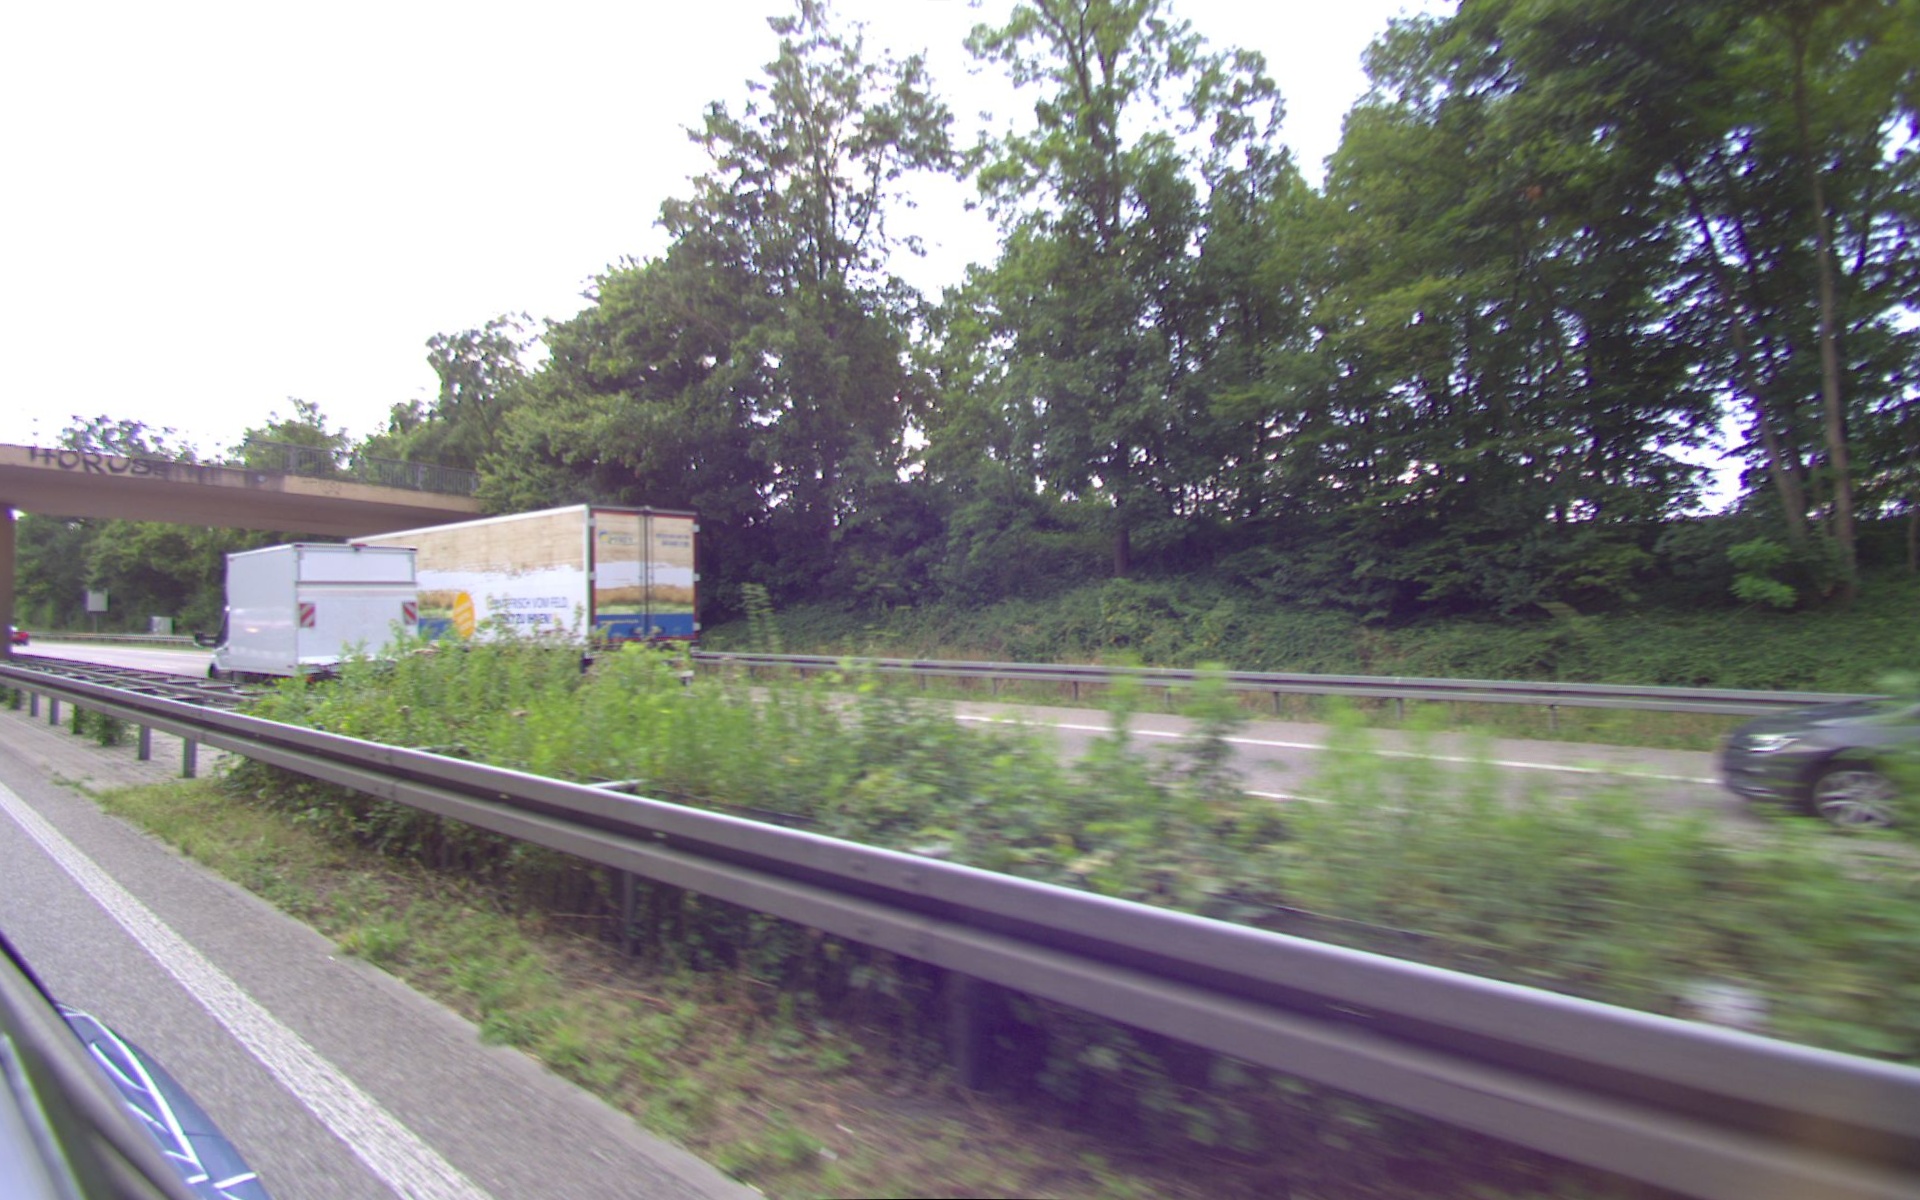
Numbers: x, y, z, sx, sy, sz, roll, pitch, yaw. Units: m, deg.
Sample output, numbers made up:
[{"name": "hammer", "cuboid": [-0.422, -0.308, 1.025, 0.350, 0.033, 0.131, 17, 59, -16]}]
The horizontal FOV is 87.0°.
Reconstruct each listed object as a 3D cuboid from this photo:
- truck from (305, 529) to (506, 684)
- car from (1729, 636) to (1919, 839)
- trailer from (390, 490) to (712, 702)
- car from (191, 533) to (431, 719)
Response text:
[{"name": "truck", "cuboid": [-16.294, 0.251, 29.548, 6.745, 4.017, 3.008, -2, -2, 42]}, {"name": "car", "cuboid": [8.530, 1.025, 7.441, 4.468, 1.484, 1.716, -1, -2, 41]}, {"name": "trailer", "cuboid": [-10.021, 0.041, 23.951, 9.971, 4.073, 3.027, -2, -2, 42]}, {"name": "car", "cuboid": [-13.680, 0.545, 21.046, 7.283, 3.257, 2.264, -1, -2, 41]}]
